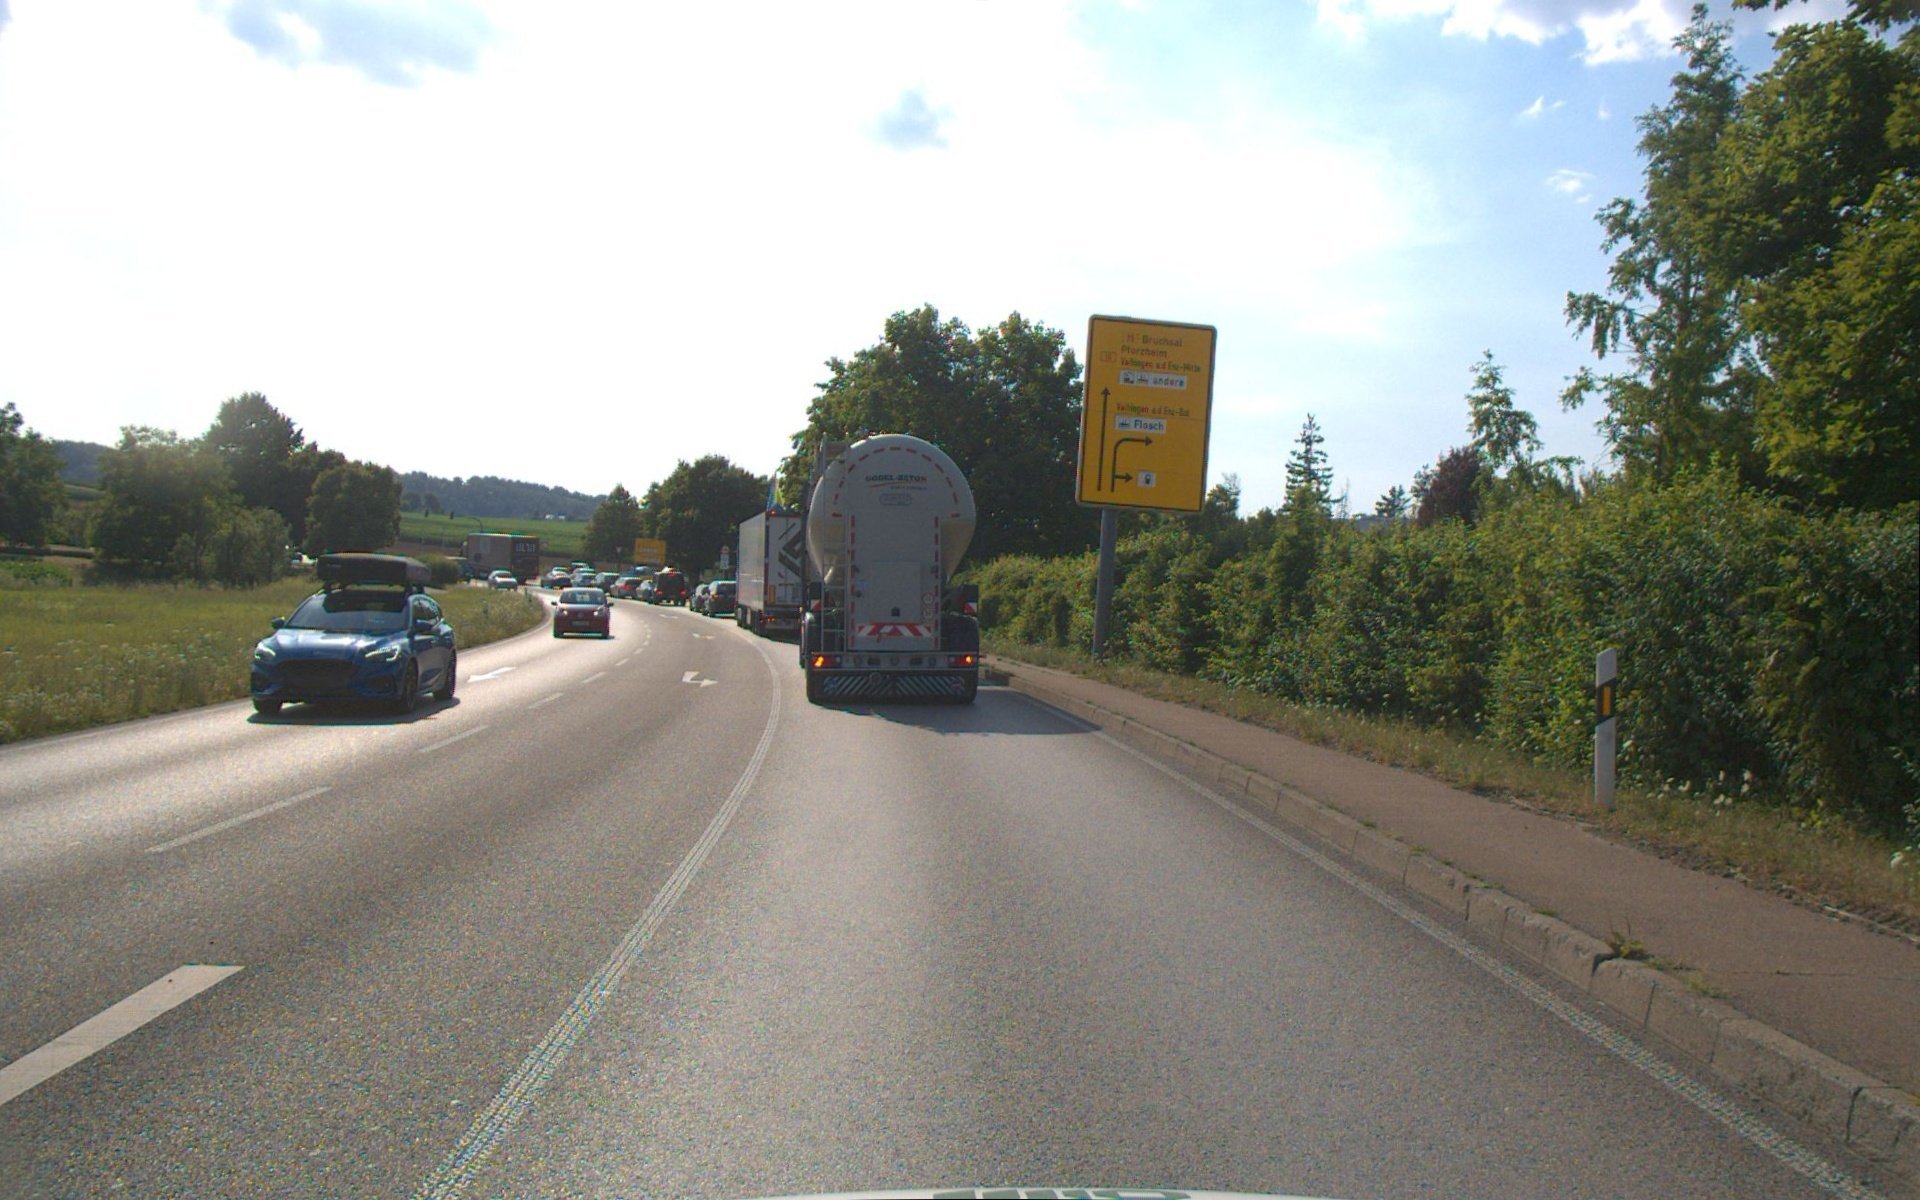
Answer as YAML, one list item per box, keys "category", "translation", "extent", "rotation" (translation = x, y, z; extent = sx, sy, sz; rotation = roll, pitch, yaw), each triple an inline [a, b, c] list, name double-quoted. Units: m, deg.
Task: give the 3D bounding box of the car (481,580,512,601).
- category: "car"
  translation: [-34.489, -0.724, 123.055]
  extent: [1.684, 1.453, 4.148]
  rotation: [1, 0, -23]

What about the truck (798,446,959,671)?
- category: "truck"
  translation: [-1.686, -0.761, 32.303]
  extent: [2.854, 4.076, 4.054]
  rotation: [1, 0, -7]

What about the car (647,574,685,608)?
- category: "car"
  translation: [-18.105, -0.550, 101.694]
  extent: [1.833, 2.049, 3.700]
  rotation: [1, 0, -18]

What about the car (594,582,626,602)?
- category: "car"
  translation: [-25.732, -0.600, 121.547]
  extent: [1.560, 1.364, 3.399]
  rotation: [2, 0, -25]

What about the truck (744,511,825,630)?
- category: "truck"
  translation: [-6.981, -1.137, 65.318]
  extent: [2.896, 4.378, 4.923]
  rotation: [2, 0, -7]

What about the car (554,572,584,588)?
- category: "car"
  translation: [-31.956, -1.612, 135.193]
  extent: [1.747, 1.227, 3.399]
  rotation: [2, 0, -25]

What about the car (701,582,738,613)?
- category: "car"
  translation: [-11.589, -0.130, 79.652]
  extent: [1.552, 1.364, 3.417]
  rotation: [2, 0, -11]

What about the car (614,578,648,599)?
- category: "car"
  translation: [-22.983, -0.844, 115.583]
  extent: [1.560, 1.364, 3.399]
  rotation: [2, 0, -25]

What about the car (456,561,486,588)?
- category: "car"
  translation: [-41.377, -2.175, 139.893]
  extent: [1.971, 2.174, 4.746]
  rotation: [1, 0, -23]

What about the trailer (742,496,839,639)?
- category: "trailer"
  translation: [-6.209, -1.069, 59.133]
  extent: [2.899, 4.391, 14.152]
  rotation: [2, 0, -7]

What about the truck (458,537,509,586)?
- category: "truck"
  translation: [-45.816, -3.681, 158.848]
  extent: [3.341, 4.426, 5.648]
  rotation: [2, 0, -30]

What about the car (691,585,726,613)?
- category: "car"
  translation: [-13.383, -0.073, 87.866]
  extent: [1.553, 1.364, 3.414]
  rotation: [2, 0, -13]

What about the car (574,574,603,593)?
- category: "car"
  translation: [-28.997, -1.281, 129.088]
  extent: [1.560, 1.364, 3.399]
  rotation: [2, 0, -25]

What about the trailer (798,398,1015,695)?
- category: "trailer"
  translation: [-1.212, -0.760, 27.935]
  extent: [2.854, 4.076, 9.916]
  rotation: [1, 0, -6]

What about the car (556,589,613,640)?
- category: "car"
  translation: [-11.545, 0.421, 51.016]
  extent: [1.557, 1.492, 3.598]
  rotation: [0, 0, -10]

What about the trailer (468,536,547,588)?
- category: "trailer"
  translation: [-41.528, -3.464, 151.442]
  extent: [3.340, 4.426, 14.149]
  rotation: [2, 0, -30]

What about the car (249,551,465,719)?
- category: "car"
  translation: [-7.552, 0.384, 21.127]
  extent: [1.692, 1.915, 4.328]
  rotation: [0, 0, -8]
